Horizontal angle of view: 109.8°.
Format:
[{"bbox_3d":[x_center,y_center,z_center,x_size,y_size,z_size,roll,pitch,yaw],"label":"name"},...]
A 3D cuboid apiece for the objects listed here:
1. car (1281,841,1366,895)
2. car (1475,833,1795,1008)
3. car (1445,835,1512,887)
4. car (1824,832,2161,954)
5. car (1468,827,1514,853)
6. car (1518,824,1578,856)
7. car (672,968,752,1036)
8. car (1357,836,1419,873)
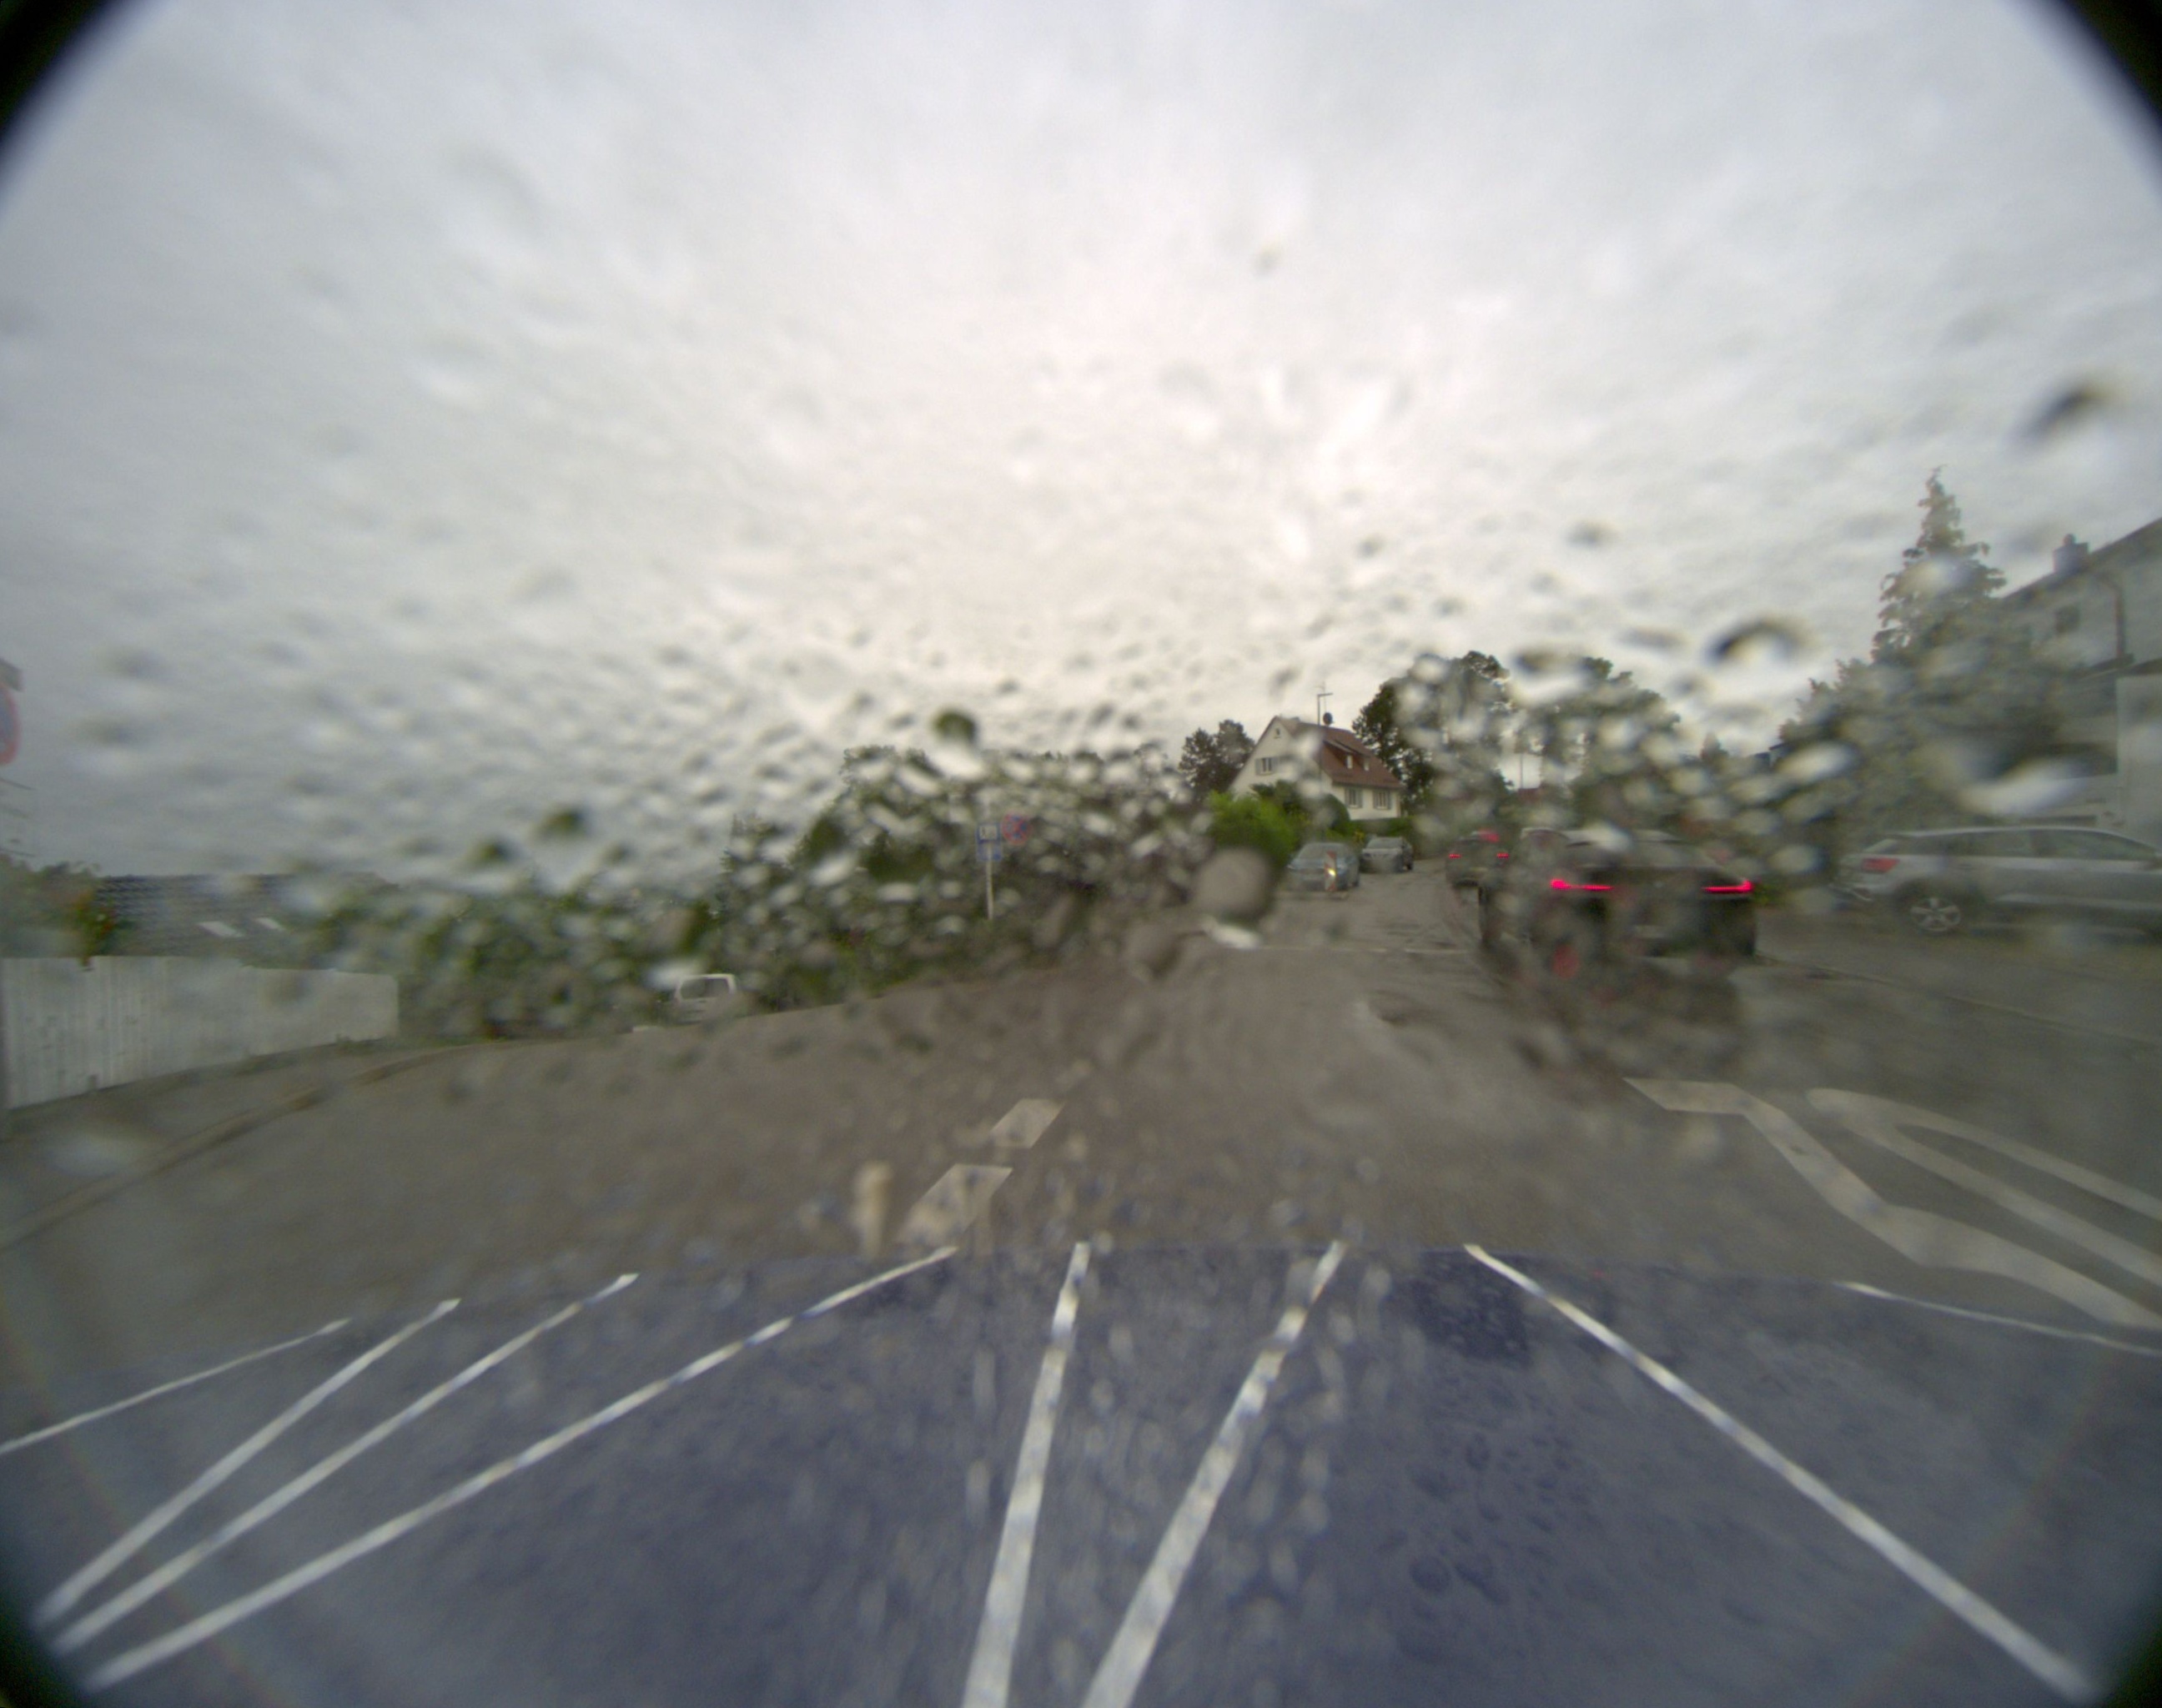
[{"bbox_3d":[7.590,0.369,23.524,1.796,1.460,4.222,-1,1,27],"label":"car"},{"bbox_3d":[6.265,0.579,9.276,1.932,1.596,4.348,-1,1,18],"label":"car"},{"bbox_3d":[13.436,0.184,25.549,1.789,1.585,4.223,-1,1,30],"label":"car"},{"bbox_3d":[12.931,0.438,10.147,3.988,1.433,1.772,1,3,33],"label":"car"},{"bbox_3d":[26.973,-0.940,49.959,1.661,1.630,4.224,-1,1,42],"label":"car"},{"bbox_3d":[28.447,-0.866,46.239,4.223,1.854,1.777,-2,2,-39],"label":"car"},{"bbox_3d":[-11.268,4.600,23.410,1.756,1.728,4.001,-3,-11,-20],"label":"car"},{"bbox_3d":[14.164,-0.024,34.975,1.902,1.532,4.223,-1,1,32],"label":"car"}]
